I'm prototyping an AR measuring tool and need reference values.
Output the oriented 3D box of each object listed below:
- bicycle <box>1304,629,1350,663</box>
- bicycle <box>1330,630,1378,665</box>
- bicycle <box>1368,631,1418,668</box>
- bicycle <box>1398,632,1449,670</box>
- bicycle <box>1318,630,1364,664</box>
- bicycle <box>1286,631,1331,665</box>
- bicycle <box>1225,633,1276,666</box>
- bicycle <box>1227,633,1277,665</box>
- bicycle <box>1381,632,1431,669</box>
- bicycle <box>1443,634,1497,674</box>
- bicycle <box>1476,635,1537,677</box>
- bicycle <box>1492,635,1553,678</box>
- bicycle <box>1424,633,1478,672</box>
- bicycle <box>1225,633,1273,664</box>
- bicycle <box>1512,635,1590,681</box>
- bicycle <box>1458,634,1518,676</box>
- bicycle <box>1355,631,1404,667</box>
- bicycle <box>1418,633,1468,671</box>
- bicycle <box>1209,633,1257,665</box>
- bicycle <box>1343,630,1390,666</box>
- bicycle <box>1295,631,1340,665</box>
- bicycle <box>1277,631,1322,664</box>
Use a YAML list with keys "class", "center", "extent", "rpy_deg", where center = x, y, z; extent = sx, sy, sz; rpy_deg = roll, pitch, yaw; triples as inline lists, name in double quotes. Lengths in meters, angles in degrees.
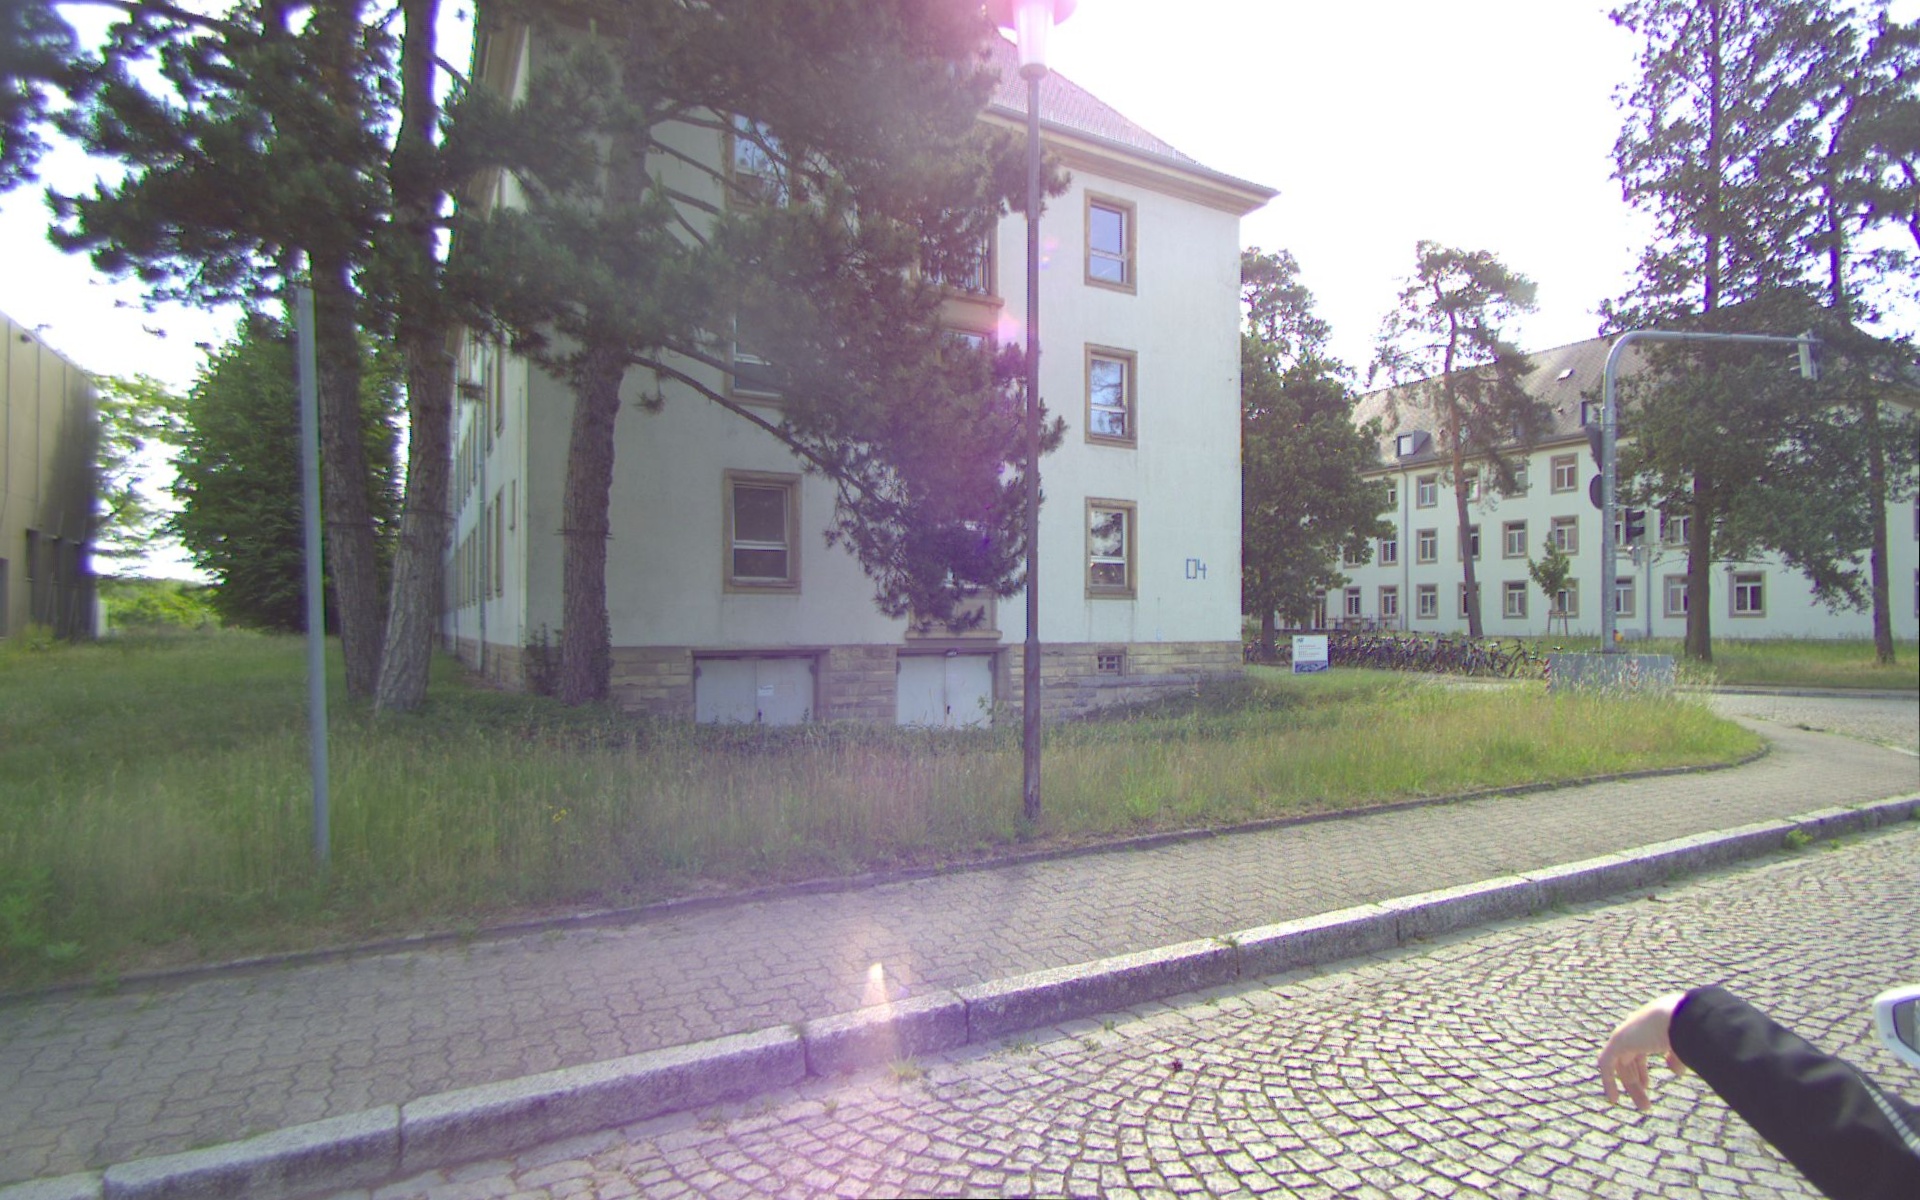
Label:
- class: "bicycle"
  center: [13.636, 1.708, 37.271]
  extent: [1.914, 1.237, 0.512]
  rpy_deg: [1, -1, -31]
- class: "bicycle"
  center: [14.216, 1.706, 36.218]
  extent: [1.914, 1.237, 0.512]
  rpy_deg: [1, -1, -31]
- class: "bicycle"
  center: [15.008, 1.705, 34.799]
  extent: [1.954, 1.237, 0.512]
  rpy_deg: [1, -1, -31]
- class: "bicycle"
  center: [15.621, 1.708, 33.809]
  extent: [1.992, 1.237, 0.512]
  rpy_deg: [1, -1, -31]
- class: "bicycle"
  center: [13.943, 1.707, 36.745]
  extent: [1.914, 1.237, 0.512]
  rpy_deg: [1, -1, -31]
- class: "bicycle"
  center: [13.203, 1.803, 38.050]
  extent: [1.914, 1.237, 0.512]
  rpy_deg: [1, -1, -31]
- class: "bicycle"
  center: [11.118, 1.902, 38.431]
  extent: [1.794, 1.237, 0.515]
  rpy_deg: [-1, -1, 25]
- class: "bicycle"
  center: [11.357, 1.902, 39.034]
  extent: [1.794, 1.237, 0.515]
  rpy_deg: [-1, -1, 25]
- class: "bicycle"
  center: [15.265, 1.708, 34.351]
  extent: [1.954, 1.237, 0.512]
  rpy_deg: [1, -1, -31]
- class: "bicycle"
  center: [16.278, 1.700, 32.071]
  extent: [1.966, 1.237, 0.569]
  rpy_deg: [1, -1, -31]
- class: "bicycle"
  center: [16.654, 1.691, 30.601]
  extent: [2.099, 1.237, 0.630]
  rpy_deg: [1, -1, -31]
- class: "bicycle"
  center: [16.897, 1.689, 30.184]
  extent: [2.089, 1.237, 0.630]
  rpy_deg: [1, -1, -31]
- class: "bicycle"
  center: [16.024, 1.705, 32.789]
  extent: [2.005, 1.237, 0.576]
  rpy_deg: [1, -1, -31]
- class: "bicycle"
  center: [11.660, 1.960, 40.497]
  extent: [1.792, 1.237, 0.516]
  rpy_deg: [0, -1, 7]
- class: "bicycle"
  center: [16.863, 1.632, 28.705]
  extent: [0.627, 1.237, 1.853]
  rpy_deg: [1, -2, -29]
- class: "bicycle"
  center: [16.366, 1.693, 31.131]
  extent: [2.080, 1.237, 0.630]
  rpy_deg: [1, -1, -31]
- class: "bicycle"
  center: [14.724, 1.703, 35.241]
  extent: [1.931, 1.237, 0.512]
  rpy_deg: [1, -1, -31]
- class: "bicycle"
  center: [16.104, 1.709, 33.500]
  extent: [1.877, 1.237, 0.545]
  rpy_deg: [1, -1, -31]
- class: "bicycle"
  center: [10.862, 1.946, 40.033]
  extent: [1.792, 1.237, 0.516]
  rpy_deg: [0, -1, 7]
- class: "bicycle"
  center: [14.463, 1.704, 35.731]
  extent: [1.914, 1.237, 0.512]
  rpy_deg: [1, -1, -31]
- class: "bicycle"
  center: [13.413, 1.802, 37.676]
  extent: [1.914, 1.237, 0.512]
  rpy_deg: [1, -1, -31]
- class: "bicycle"
  center: [12.991, 1.804, 38.444]
  extent: [1.914, 1.237, 0.512]
  rpy_deg: [1, -1, -31]
